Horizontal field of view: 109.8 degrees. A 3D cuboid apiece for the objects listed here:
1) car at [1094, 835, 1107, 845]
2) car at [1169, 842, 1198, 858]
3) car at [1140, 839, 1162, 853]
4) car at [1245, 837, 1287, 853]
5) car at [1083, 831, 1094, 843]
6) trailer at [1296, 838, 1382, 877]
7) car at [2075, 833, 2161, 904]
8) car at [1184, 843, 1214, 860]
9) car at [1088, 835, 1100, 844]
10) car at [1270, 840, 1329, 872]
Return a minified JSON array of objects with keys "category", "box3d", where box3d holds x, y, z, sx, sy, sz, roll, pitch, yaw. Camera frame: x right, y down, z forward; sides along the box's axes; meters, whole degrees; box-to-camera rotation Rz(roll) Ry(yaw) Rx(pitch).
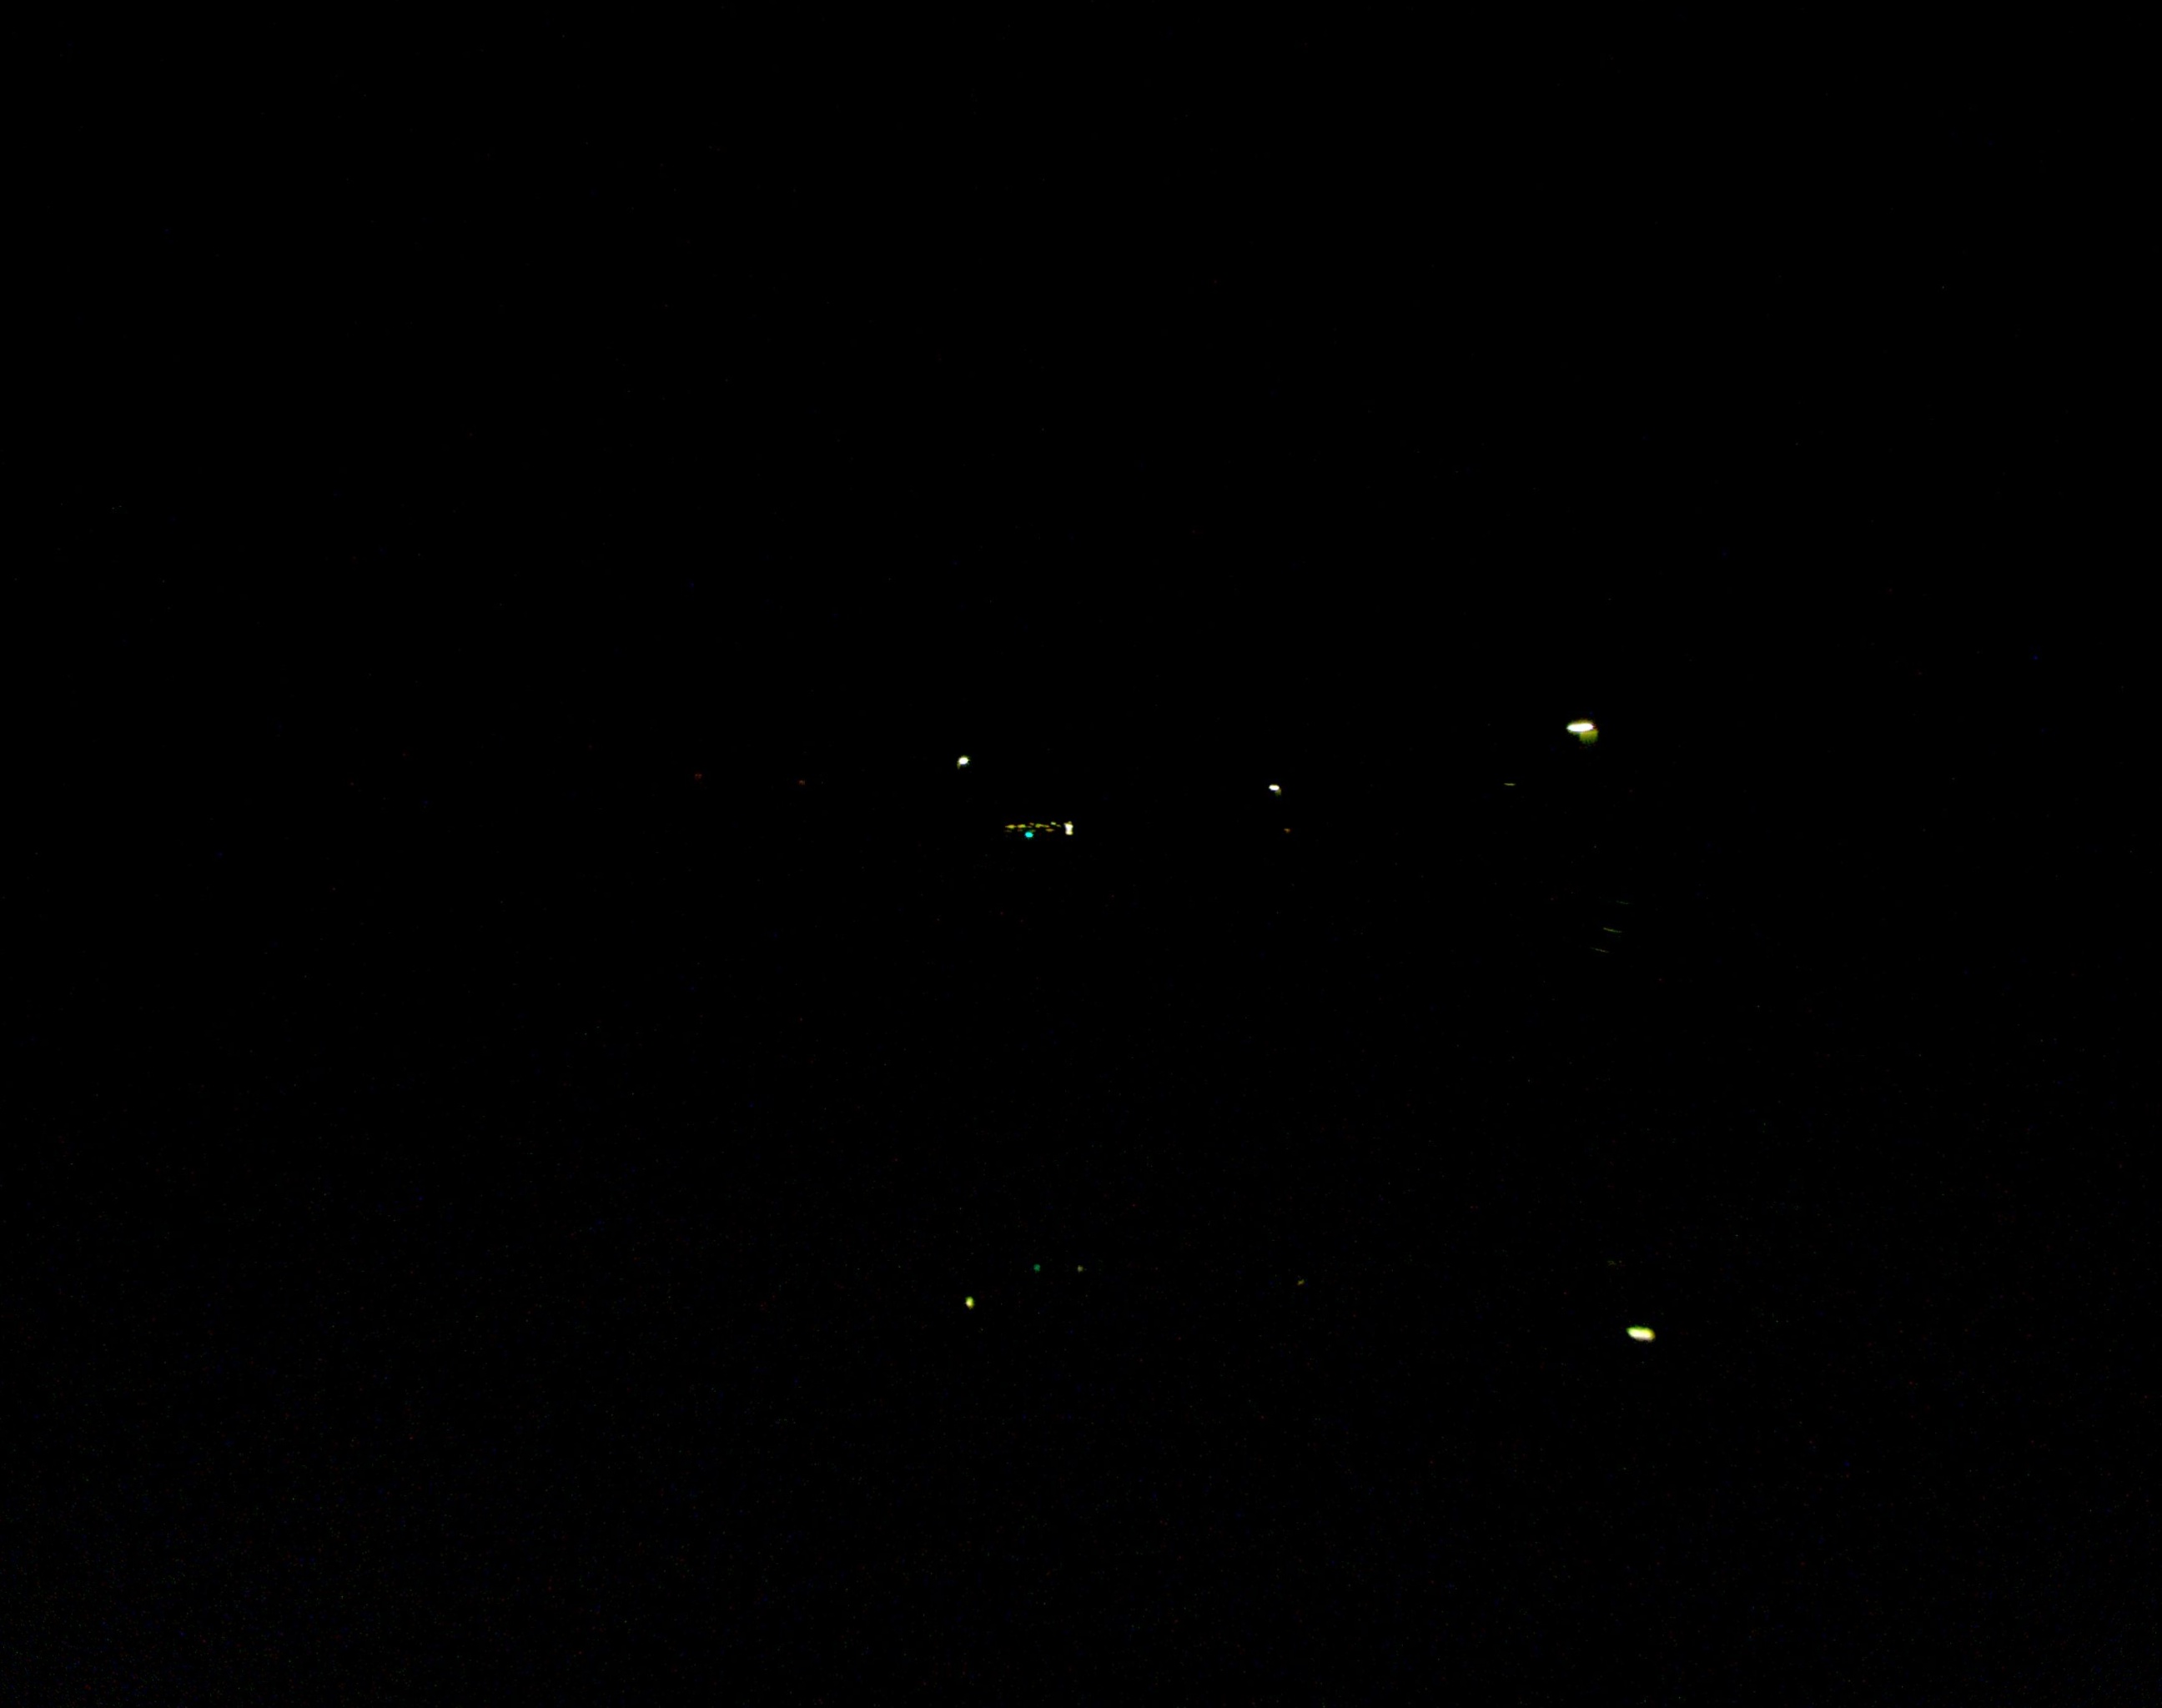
[{"category":"car","box3d":[3.616,-2.635,142.058,2.125,1.761,4.717,2,2,-3]},{"category":"car","box3d":[10.011,-0.414,74.711,1.906,1.357,4.981,2,2,-3]},{"category":"car","box3d":[8.635,-0.998,93.897,1.769,1.559,4.690,3,1,-5]},{"category":"car","box3d":[19.883,-0.993,81.682,3.999,1.534,1.888,-3,2,-7]},{"category":"car","box3d":[1.639,-3.800,168.600,2.165,2.499,4.717,2,2,-3]},{"category":"trailer","box3d":[12.868,0.117,38.360,2.030,1.771,5.670,1,1,-4]},{"category":"car","box3d":[27.822,0.299,18.902,3.998,1.600,1.756,-3,2,-2]},{"category":"car","box3d":[10.609,-0.270,68.543,1.733,1.357,4.142,2,2,-5]},{"category":"car","box3d":[2.707,-2.948,155.248,2.125,1.761,4.717,2,2,-3]},{"category":"car","box3d":[12.433,0.076,43.502,1.722,1.568,4.532,2,2,-4]}]
